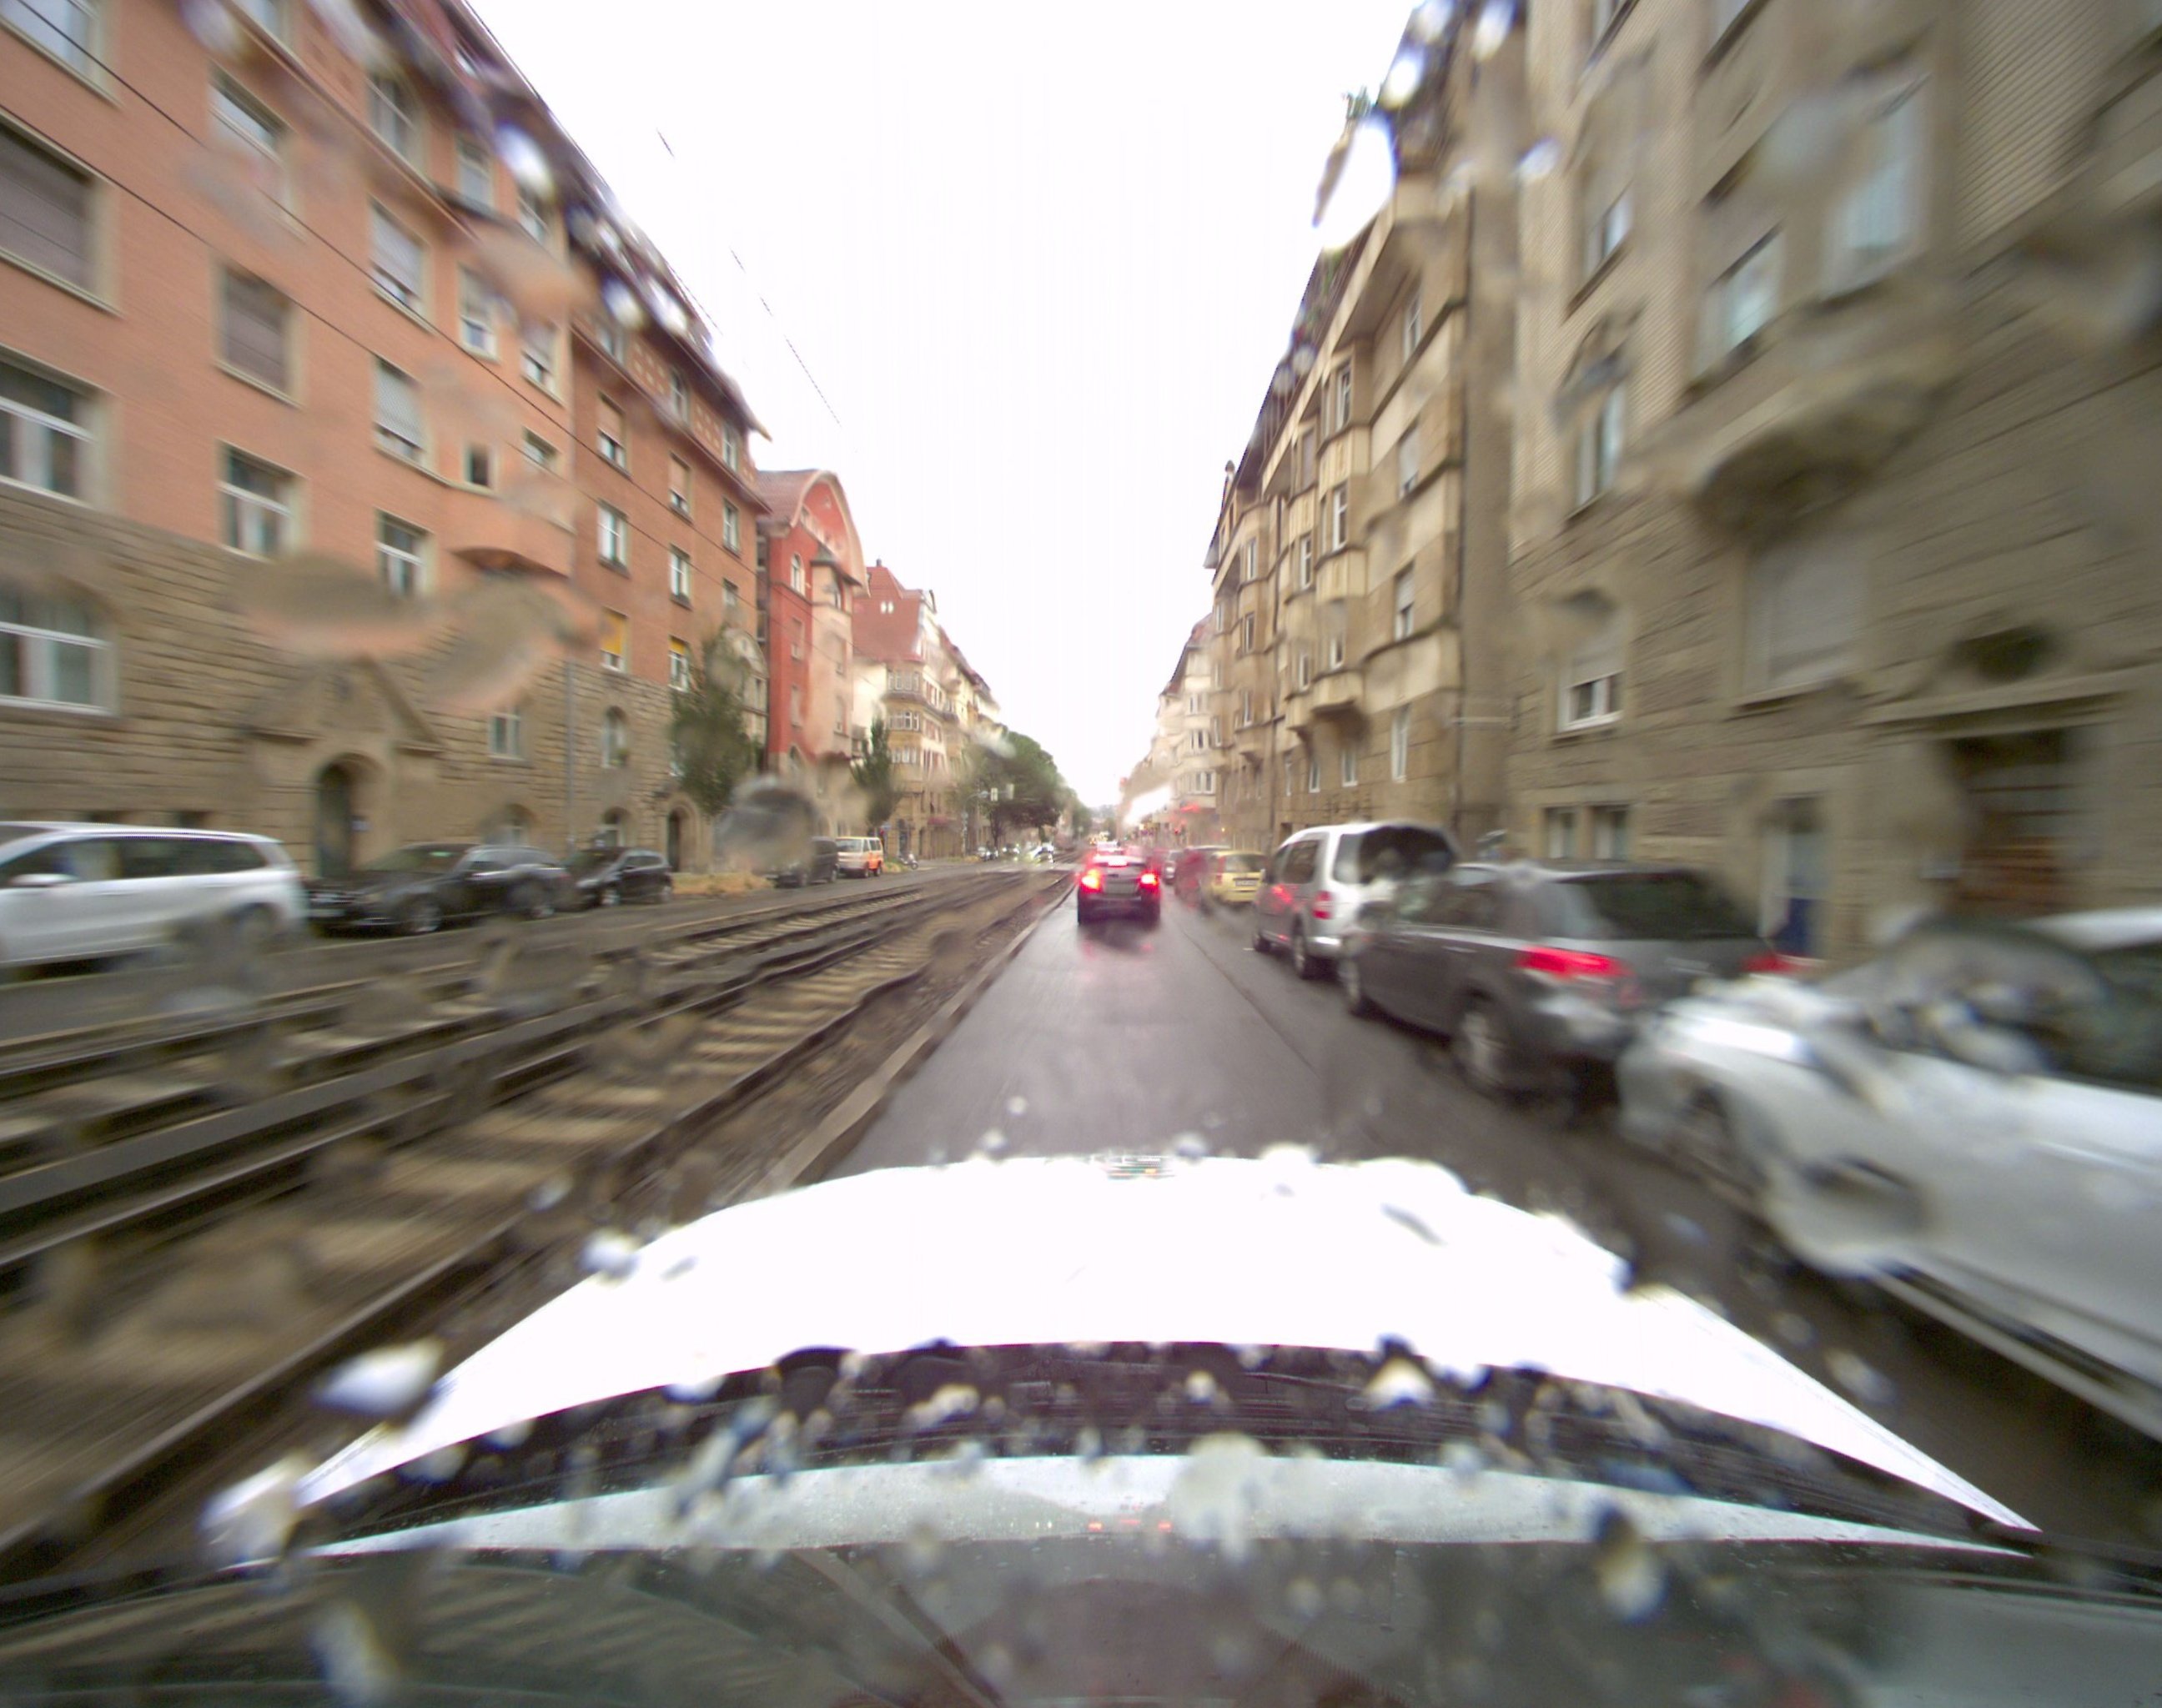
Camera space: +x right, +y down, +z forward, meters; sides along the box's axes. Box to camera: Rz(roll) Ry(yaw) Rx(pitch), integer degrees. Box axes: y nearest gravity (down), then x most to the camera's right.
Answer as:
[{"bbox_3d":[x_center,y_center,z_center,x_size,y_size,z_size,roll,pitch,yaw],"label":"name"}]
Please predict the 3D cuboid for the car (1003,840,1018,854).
[{"bbox_3d":[-8.988,-0.899,104.531,1.786,1.691,3.994,1,0,-4],"label":"car"}]

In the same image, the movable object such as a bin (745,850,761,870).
[{"bbox_3d":[-15.914,0.298,39.528,0.572,0.955,0.520,1,0,2],"label":"movable object such as a bin"}]

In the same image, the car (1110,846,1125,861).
[{"bbox_3d":[4.663,-0.066,103.113,1.845,1.797,3.813,0,-1,2],"label":"car"}]

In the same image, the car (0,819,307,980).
[{"bbox_3d":[-11.758,0.434,9.149,1.778,1.589,4.353,3,0,2],"label":"car"}]

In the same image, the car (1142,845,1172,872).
[{"bbox_3d":[4.445,0.252,48.202,1.543,1.508,4.002,1,0,2],"label":"car"}]

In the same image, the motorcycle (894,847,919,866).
[{"bbox_3d":[-10.722,0.152,50.092,1.423,1.134,0.624,1,-1,31],"label":"motorcycle"}]

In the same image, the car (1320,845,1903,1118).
[{"bbox_3d":[3.407,0.692,6.334,1.986,1.441,4.000,0,0,1],"label":"car"}]

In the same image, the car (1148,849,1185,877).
[{"bbox_3d":[4.456,0.460,42.699,1.597,1.419,3.148,1,0,0],"label":"car"}]

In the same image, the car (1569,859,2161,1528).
[{"bbox_3d":[3.195,0.758,1.998,1.670,1.411,4.001,-1,1,1],"label":"car"}]

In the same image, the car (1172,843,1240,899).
[{"bbox_3d":[3.909,0.496,26.032,1.704,1.628,4.002,1,0,2],"label":"car"}]

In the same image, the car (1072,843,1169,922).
[{"bbox_3d":[0.816,0.590,18.108,1.939,1.565,3.643,0,-1,1],"label":"car"}]

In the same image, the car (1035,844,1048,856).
[{"bbox_3d":[-5.481,-0.572,113.572,1.791,1.548,3.997,-2,0,-2],"label":"car"}]

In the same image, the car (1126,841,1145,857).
[{"bbox_3d":[6.120,-0.536,91.436,1.763,1.776,3.997,0,-1,-2],"label":"car"}]

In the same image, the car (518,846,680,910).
[{"bbox_3d":[-11.528,0.523,19.823,1.637,1.398,3.882,1,0,-1],"label":"car"}]

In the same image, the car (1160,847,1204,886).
[{"bbox_3d":[4.344,0.503,35.385,1.631,1.542,3.468,1,1,2],"label":"car"}]

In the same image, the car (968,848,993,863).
[{"bbox_3d":[-9.620,0.159,78.346,1.765,1.464,4.002,0,-1,2],"label":"car"}]

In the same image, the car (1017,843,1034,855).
[{"bbox_3d":[-8.280,-0.773,121.873,1.986,1.794,4.002,1,0,2],"label":"car"}]

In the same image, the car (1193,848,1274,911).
[{"bbox_3d":[3.897,0.604,21.254,1.553,1.478,3.462,1,0,2],"label":"car"}]

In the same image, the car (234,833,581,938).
[{"bbox_3d":[-11.702,0.470,14.785,1.986,1.509,4.976,2,0,2],"label":"car"}]

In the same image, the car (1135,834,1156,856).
[{"bbox_3d":[6.249,-0.806,79.563,1.891,2.028,4.178,0,-1,2],"label":"car"}]

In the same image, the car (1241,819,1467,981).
[{"bbox_3d":[3.415,0.498,11.096,1.768,1.776,4.363,0,0,2],"label":"car"}]

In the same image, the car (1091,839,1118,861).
[{"bbox_3d":[1.733,-0.319,62.022,1.915,1.655,3.999,1,0,0],"label":"car"}]

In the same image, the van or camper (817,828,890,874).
[{"bbox_3d":[-10.946,-0.127,39.563,1.987,1.901,4.698,-6,0,0],"label":"van or camper"}]

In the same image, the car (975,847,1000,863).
[{"bbox_3d":[-9.593,0.110,83.672,1.986,1.517,4.002,1,0,2],"label":"car"}]

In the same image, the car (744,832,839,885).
[{"bbox_3d":[-11.178,0.178,31.802,1.987,1.901,4.698,0,0,0],"label":"car"}]

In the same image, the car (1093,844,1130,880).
[{"bbox_3d":[1.343,0.350,36.196,1.530,1.510,4.002,1,0,2],"label":"car"}]
